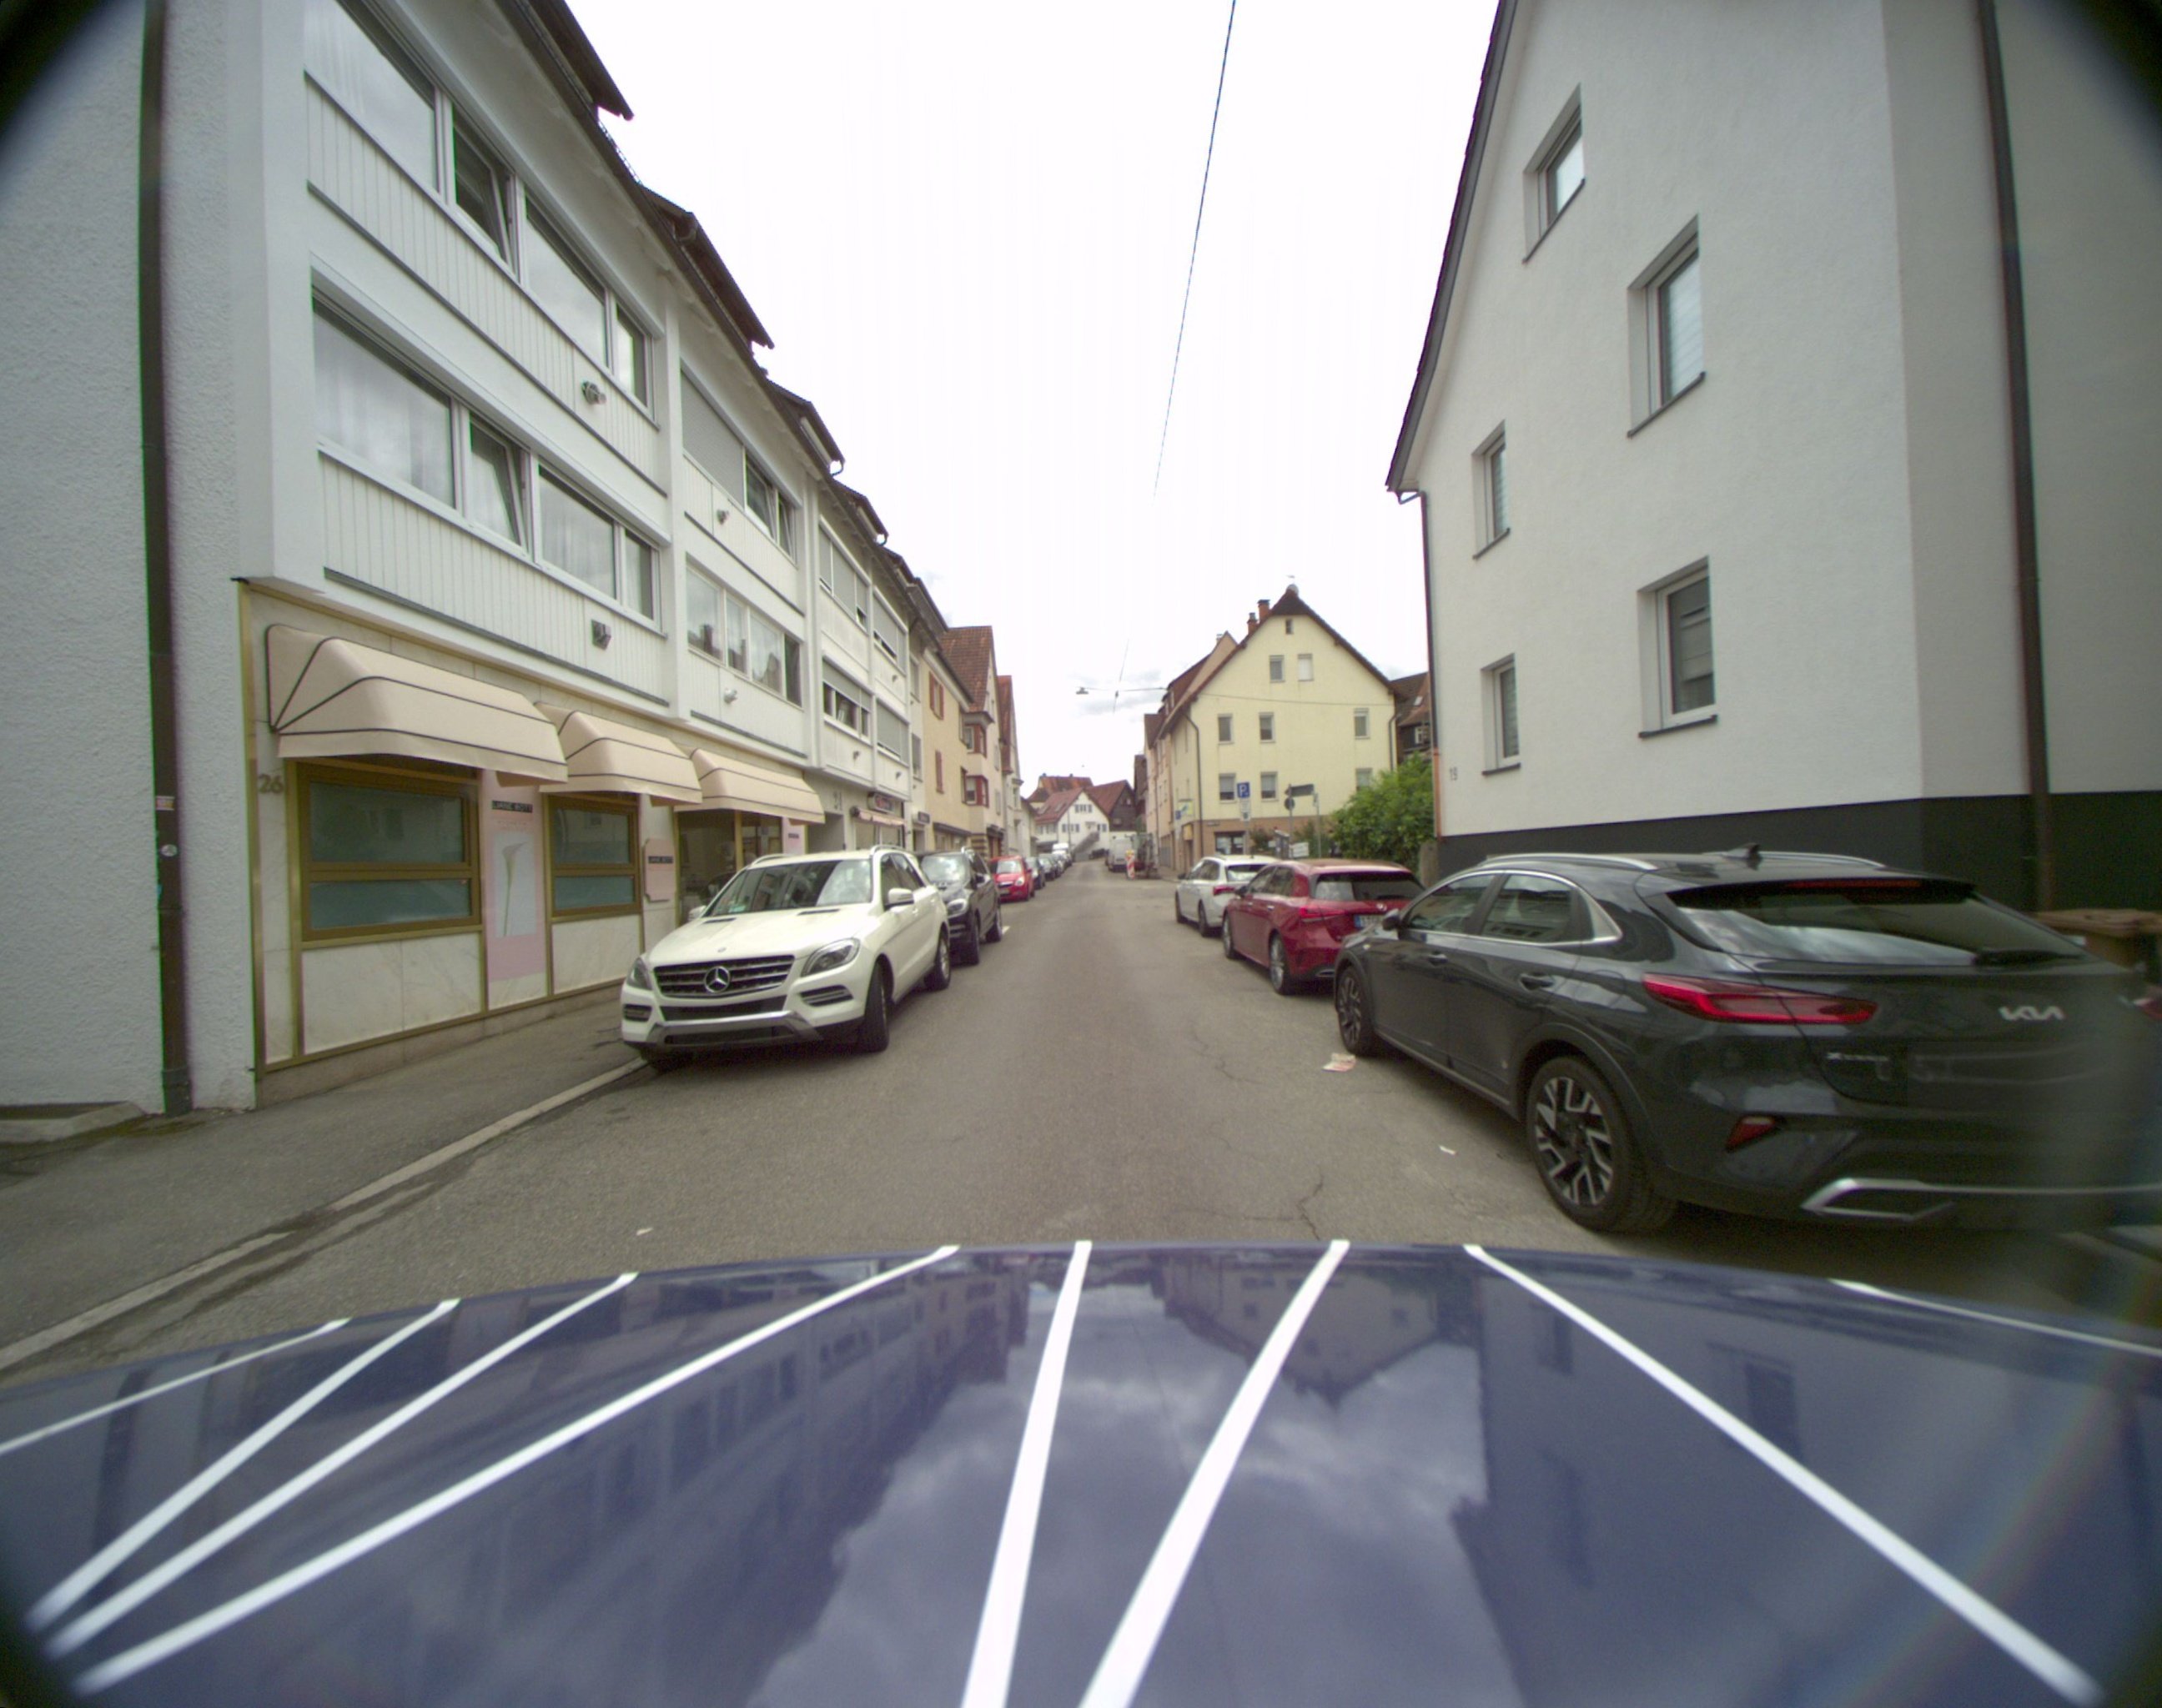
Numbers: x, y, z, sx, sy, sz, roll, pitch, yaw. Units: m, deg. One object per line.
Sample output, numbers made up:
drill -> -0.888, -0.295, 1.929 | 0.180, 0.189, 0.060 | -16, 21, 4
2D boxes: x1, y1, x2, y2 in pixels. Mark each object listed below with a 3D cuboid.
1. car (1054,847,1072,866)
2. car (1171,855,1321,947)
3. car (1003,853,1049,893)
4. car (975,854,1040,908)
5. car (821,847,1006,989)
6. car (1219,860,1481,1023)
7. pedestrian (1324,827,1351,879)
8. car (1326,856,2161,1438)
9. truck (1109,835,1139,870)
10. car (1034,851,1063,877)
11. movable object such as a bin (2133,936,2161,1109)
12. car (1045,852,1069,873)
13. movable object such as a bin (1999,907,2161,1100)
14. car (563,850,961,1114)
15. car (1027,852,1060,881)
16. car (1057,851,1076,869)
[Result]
car -> -1.830, 0.231, 77.661 | 1.606, 1.716, 3.550 | -5, 1, 1
car -> 2.976, 0.782, 14.656 | 1.756, 1.423, 4.348 | 0, 1, -3
car -> -2.448, 0.797, 34.548 | 1.606, 1.519, 3.988 | -5, 1, 1
car -> -2.478, 0.872, 26.531 | 1.673, 1.519, 3.988 | -5, 1, 2
car -> -2.444, 0.832, 12.296 | 1.900, 1.779, 4.343 | -3, 1, 0
car -> 2.911, 0.846, 9.220 | 1.756, 1.441, 4.066 | 0, 1, 0
pedestrian -> 8.229, -0.050, 24.392 | 0.548, 1.624, 0.626 | -4, 4, -10
car -> 2.817, 0.803, 4.089 | 1.756, 1.501, 4.084 | 0, 1, 1
truck -> 3.125, -0.121, 55.894 | 1.784, 2.378, 5.484 | -2, 1, -1
car -> -2.115, 0.615, 49.726 | 1.606, 1.464, 3.550 | -5, 1, 1
movable object such as a bin -> 6.088, 0.907, 3.895 | 0.515, 0.926, 0.604 | -3, 0, 1
car -> -1.861, 0.631, 59.860 | 1.606, 1.464, 3.550 | -5, 1, 1
movable object such as a bin -> 6.111, 0.855, 4.524 | 0.515, 1.009, 0.604 | -3, 0, 1
car -> -2.554, 0.876, 7.493 | 1.900, 1.696, 4.493 | -3, 1, 0
car -> -2.141, 0.697, 44.224 | 1.606, 1.464, 3.988 | -5, 1, 1
car -> -1.349, 0.583, 71.506 | 1.606, 1.464, 3.550 | -5, 1, 1
